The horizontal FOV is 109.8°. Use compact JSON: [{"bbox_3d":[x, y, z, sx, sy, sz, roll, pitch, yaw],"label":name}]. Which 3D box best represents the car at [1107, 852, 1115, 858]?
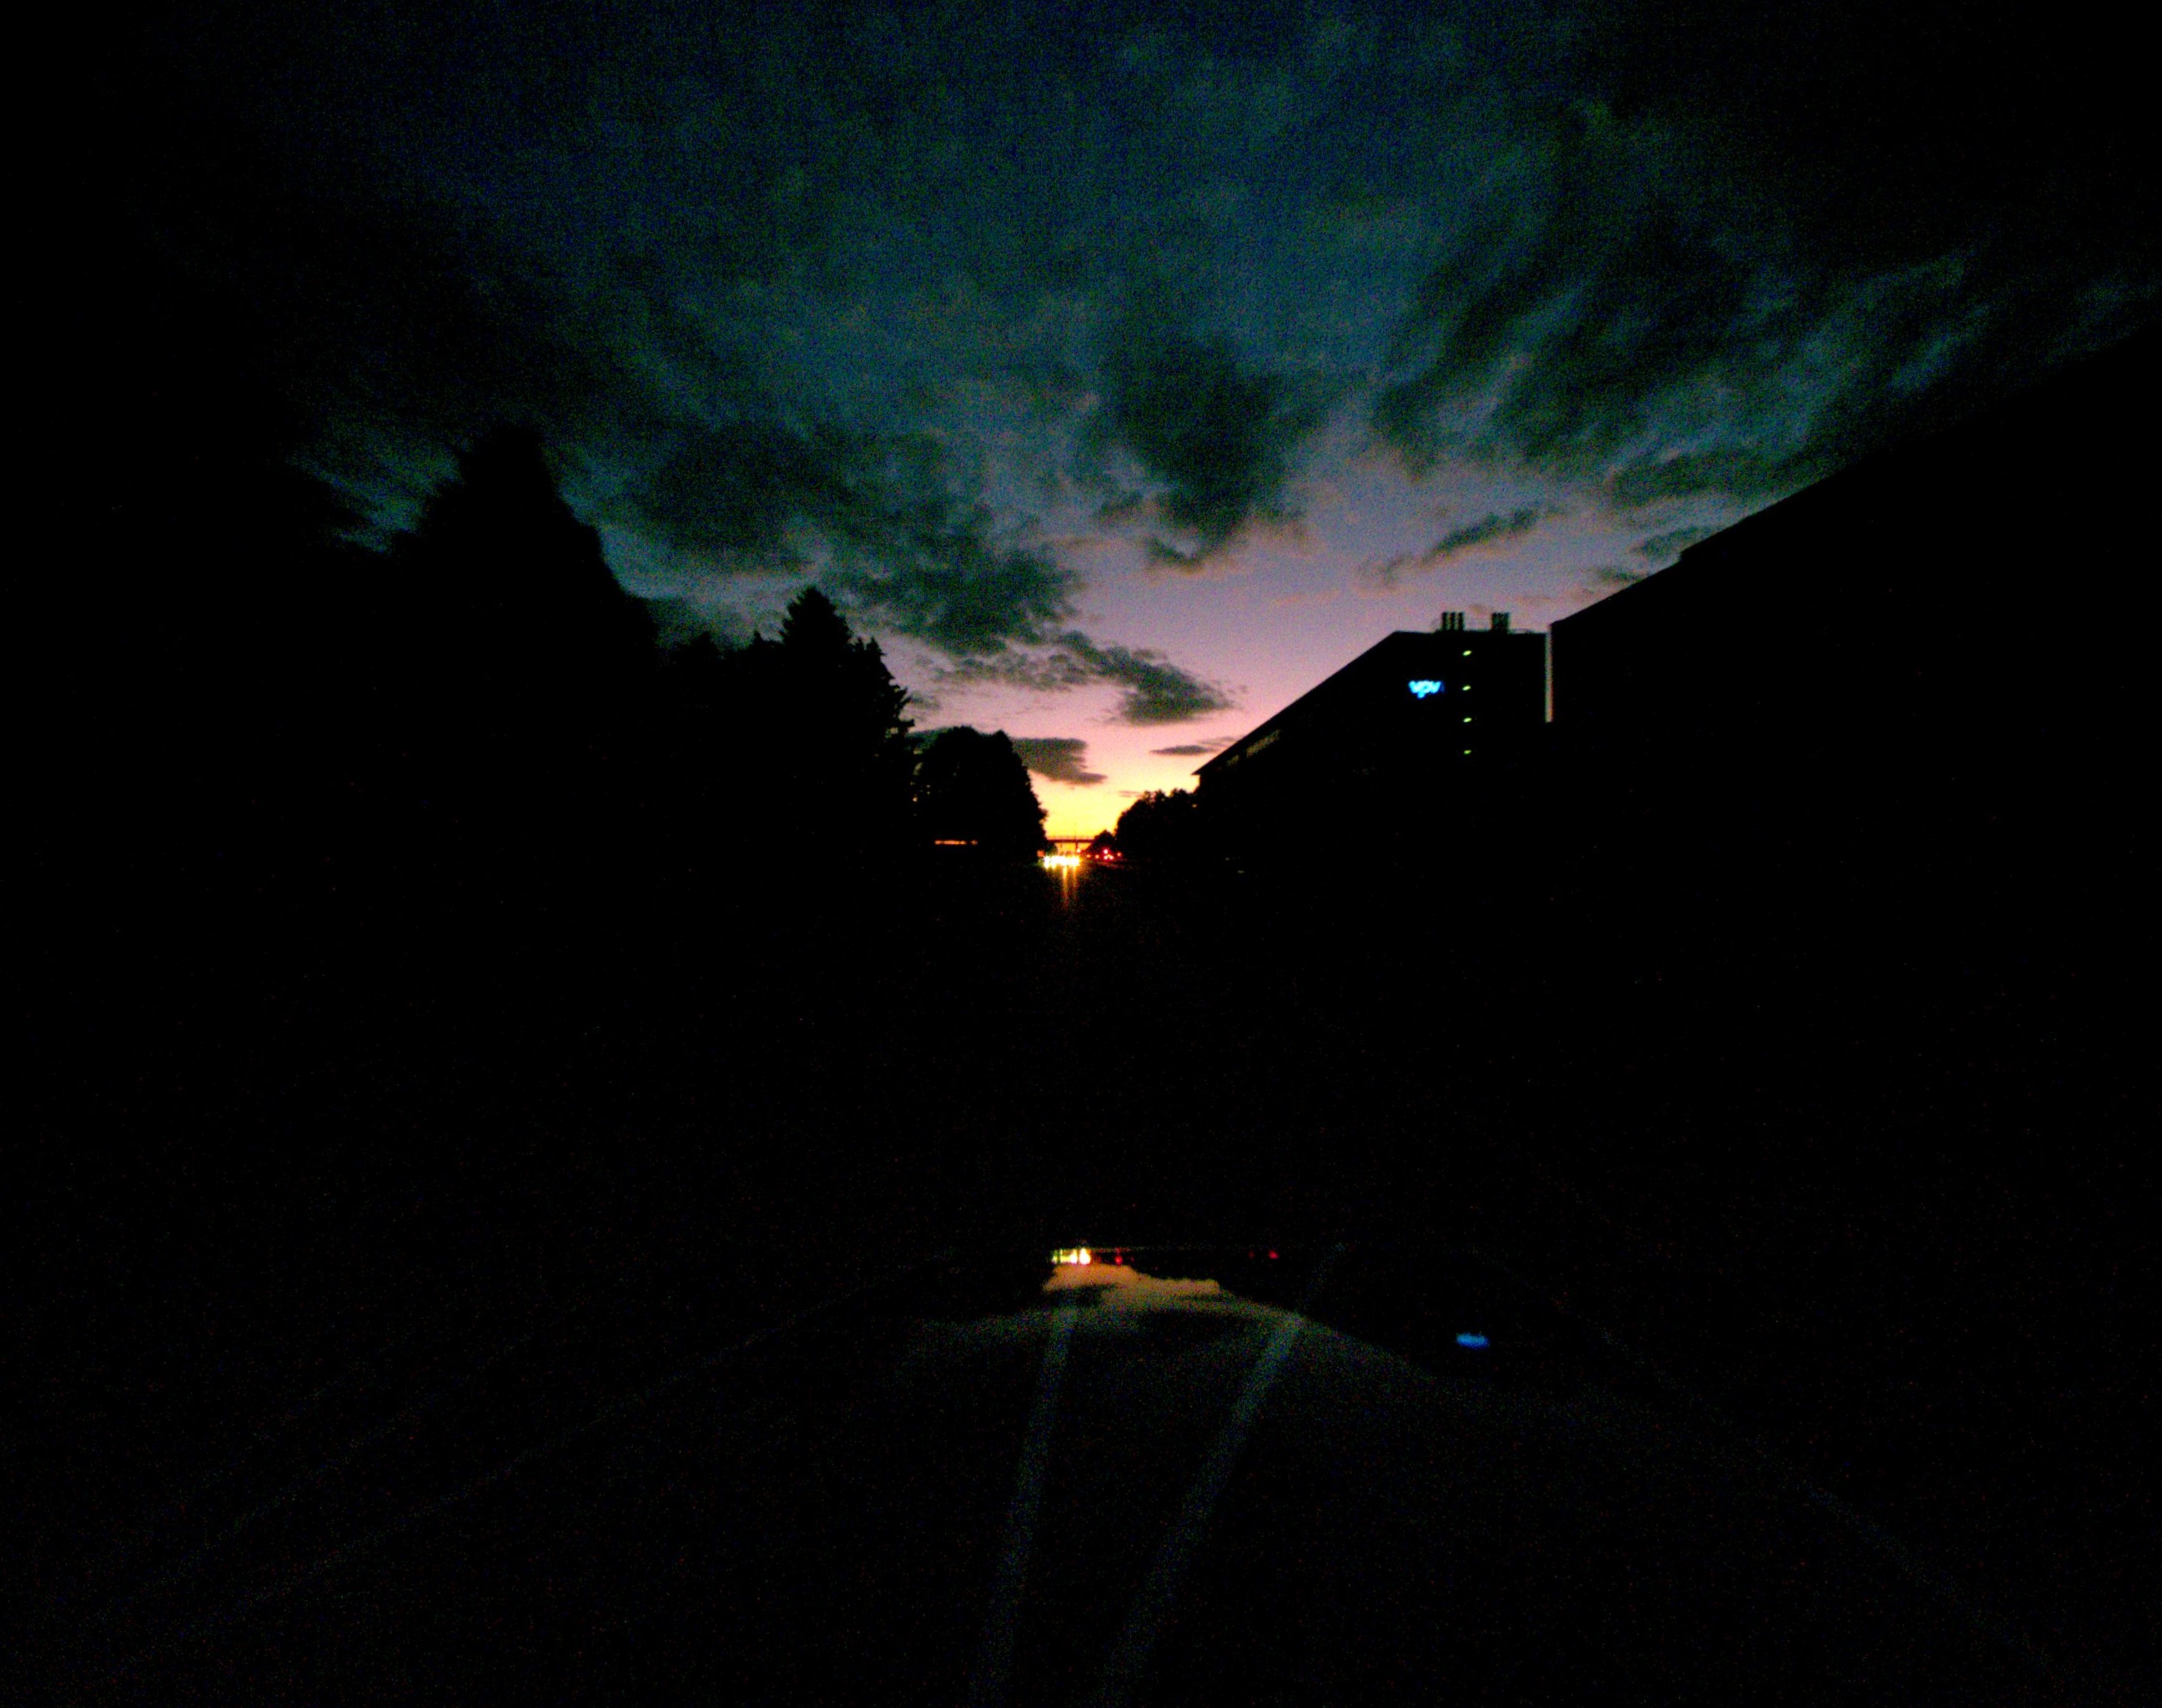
[{"bbox_3d":[7.383,0.166,186.808,1.693,1.372,3.571,0,0,-1],"label":"car"}]

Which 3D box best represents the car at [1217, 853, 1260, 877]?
[{"bbox_3d":[10.068,0.702,48.738,1.840,1.460,3.845,1,0,-1],"label":"car"}]

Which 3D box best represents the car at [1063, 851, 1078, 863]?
[{"bbox_3d":[-1.327,0.350,96.498,1.756,1.447,3.803,0,0,0],"label":"car"}]

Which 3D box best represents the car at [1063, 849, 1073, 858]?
[{"bbox_3d":[-3.090,-0.155,179.769,1.861,2.002,4.002,-3,0,6],"label":"car"}]
